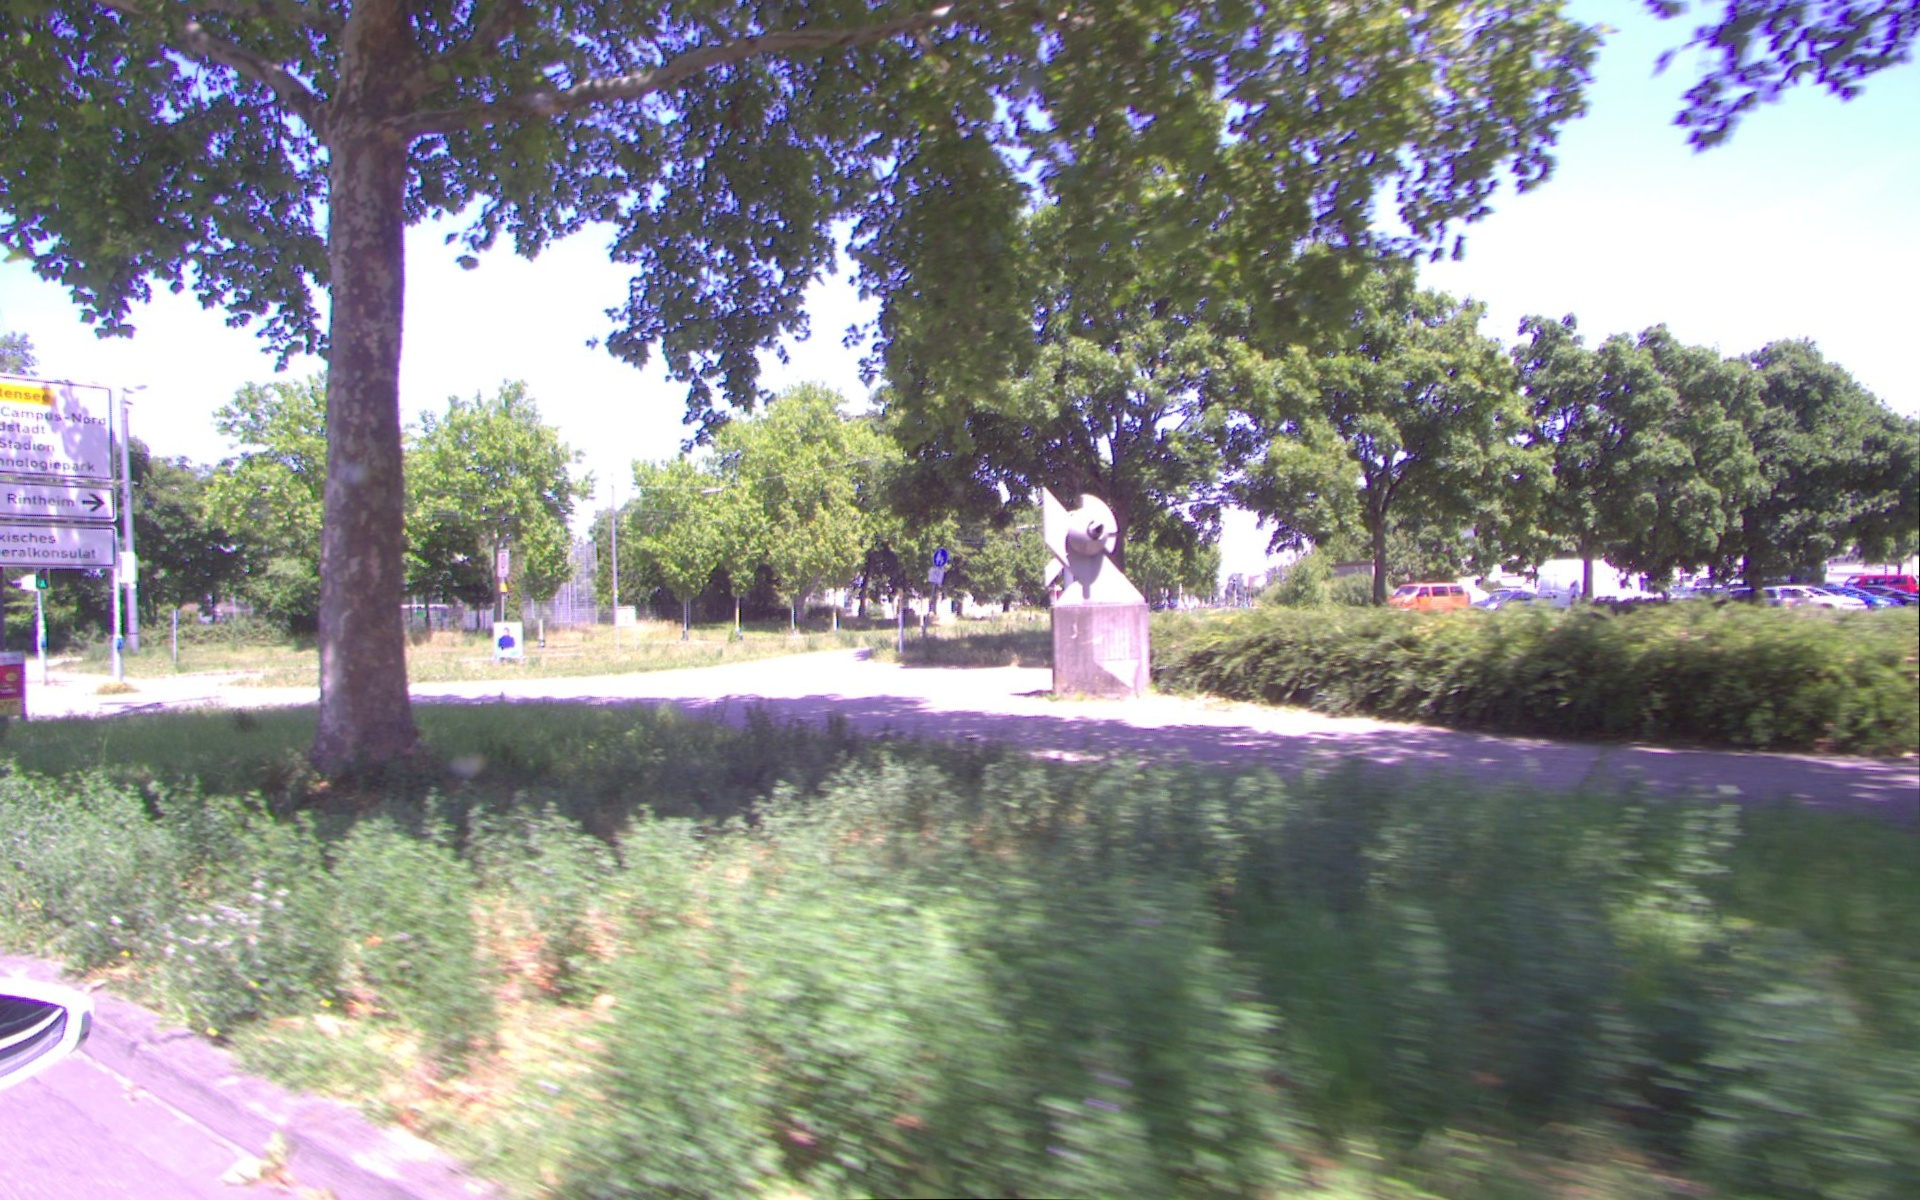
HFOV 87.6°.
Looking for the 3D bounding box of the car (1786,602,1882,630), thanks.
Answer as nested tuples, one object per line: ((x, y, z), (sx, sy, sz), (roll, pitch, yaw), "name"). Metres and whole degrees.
((33.101, 0.605, 37.987), (0.938, 1.000, 2.590), (-1, 0, -26), "car")

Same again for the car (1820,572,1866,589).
((92.378, -2.007, 104.772), (3.308, 1.639, 1.439), (-1, 0, 18), "car")

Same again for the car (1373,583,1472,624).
((24.379, 0.171, 52.798), (4.583, 2.029, 2.069), (-1, 0, -20), "car")

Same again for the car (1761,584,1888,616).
((34.963, 0.026, 40.573), (1.595, 1.241, 3.560), (-1, 0, -26), "car")

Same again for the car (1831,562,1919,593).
((104.424, -2.516, 114.344), (3.156, 3.223, 7.143), (-1, 0, -41), "car")

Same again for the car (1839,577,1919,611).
((57.617, -0.347, 62.293), (1.935, 2.040, 3.987), (-1, 0, -24), "car")

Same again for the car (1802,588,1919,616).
((37.353, 0.098, 41.386), (1.655, 1.048, 3.553), (-1, -1, -26), "car")

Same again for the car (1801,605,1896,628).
((34.215, 0.646, 38.593), (0.938, 0.852, 2.590), (-1, -1, -26), "car")

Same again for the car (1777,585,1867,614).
((34.986, -0.004, 40.695), (0.991, 1.141, 2.590), (-1, 0, -26), "car")

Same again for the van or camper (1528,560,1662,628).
((27.619, -0.272, 43.587), (5.040, 2.787, 2.199), (-1, 0, -18), "van or camper")

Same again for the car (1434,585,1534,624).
((24.516, 0.204, 46.889), (4.000, 1.740, 1.952), (-1, 0, -19), "car")

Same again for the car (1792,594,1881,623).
((35.961, 0.361, 41.110), (0.938, 1.141, 2.590), (-1, 0, -26), "car")

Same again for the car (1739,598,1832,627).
((31.459, 0.488, 38.204), (0.938, 1.049, 2.590), (-1, 0, -26), "car")

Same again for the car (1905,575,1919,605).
((45.092, -0.490, 45.015), (1.690, 1.383, 3.414), (-1, 0, -26), "car")
